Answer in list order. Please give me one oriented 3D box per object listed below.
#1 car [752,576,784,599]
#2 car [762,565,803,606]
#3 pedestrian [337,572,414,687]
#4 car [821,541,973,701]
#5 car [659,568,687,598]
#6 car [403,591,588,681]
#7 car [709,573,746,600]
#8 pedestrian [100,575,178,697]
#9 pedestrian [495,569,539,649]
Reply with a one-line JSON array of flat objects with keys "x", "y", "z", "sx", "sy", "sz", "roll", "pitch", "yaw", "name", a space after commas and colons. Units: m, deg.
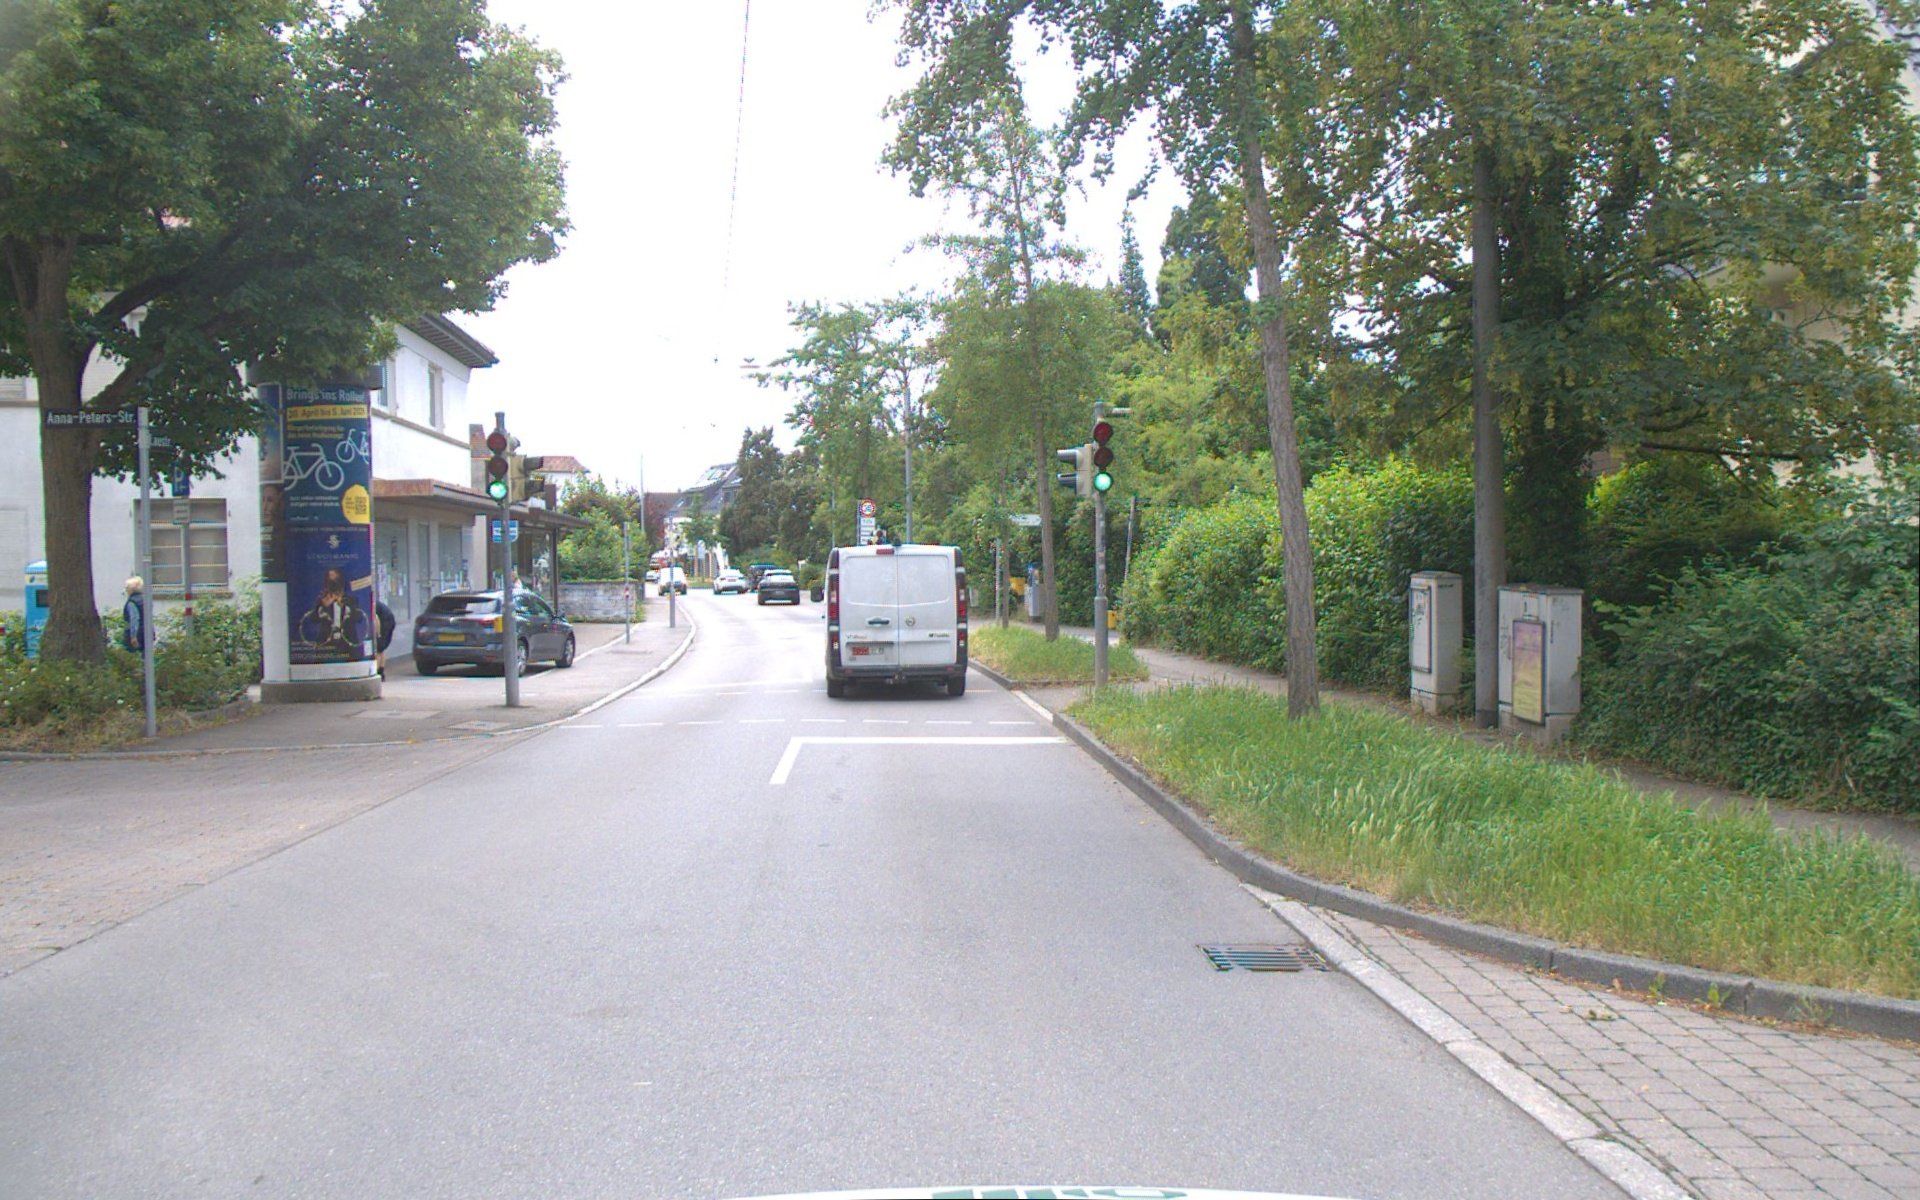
[{"x": -13.655, "y": -0.902, "z": 117.318, "sx": 1.860, "sy": 1.639, "sz": 4.487, "roll": 0, "pitch": 1, "yaw": -12, "name": "car"}, {"x": -8.455, "y": -0.701, "z": 79.074, "sx": 1.860, "sy": 1.892, "sz": 4.399, "roll": 0, "pitch": 1, "yaw": -6, "name": "car"}, {"x": -9.157, "y": 0.444, "z": 25.922, "sx": 0.867, "sy": 1.748, "sz": 0.761, "roll": 1, "pitch": 1, "yaw": 10, "name": "pedestrian"}, {"x": -0.946, "y": 0.233, "z": 22.897, "sx": 1.892, "sy": 1.998, "sz": 4.398, "roll": 0, "pitch": 1, "yaw": -4, "name": "car"}, {"x": -20.943, "y": -1.259, "z": 120.641, "sx": 1.834, "sy": 1.944, "sz": 5.103, "roll": -3, "pitch": 2, "yaw": -10, "name": "car"}, {"x": -8.189, "y": 0.591, "z": 29.585, "sx": 1.742, "sy": 1.466, "sz": 4.527, "roll": 1, "pitch": 0, "yaw": 4, "name": "car"}, {"x": -15.832, "y": -0.910, "z": 112.444, "sx": 1.797, "sy": 1.758, "sz": 3.980, "roll": -1, "pitch": 1, "yaw": -18, "name": "car"}, {"x": -11.305, "y": 0.490, "z": 22.796, "sx": 0.683, "sy": 1.644, "sz": 0.715, "roll": 0, "pitch": 1, "yaw": 1, "name": "pedestrian"}, {"x": -10.022, "y": 0.188, "z": 37.459, "sx": 0.866, "sy": 1.781, "sz": 0.961, "roll": 1, "pitch": 0, "yaw": -10, "name": "pedestrian"}]
